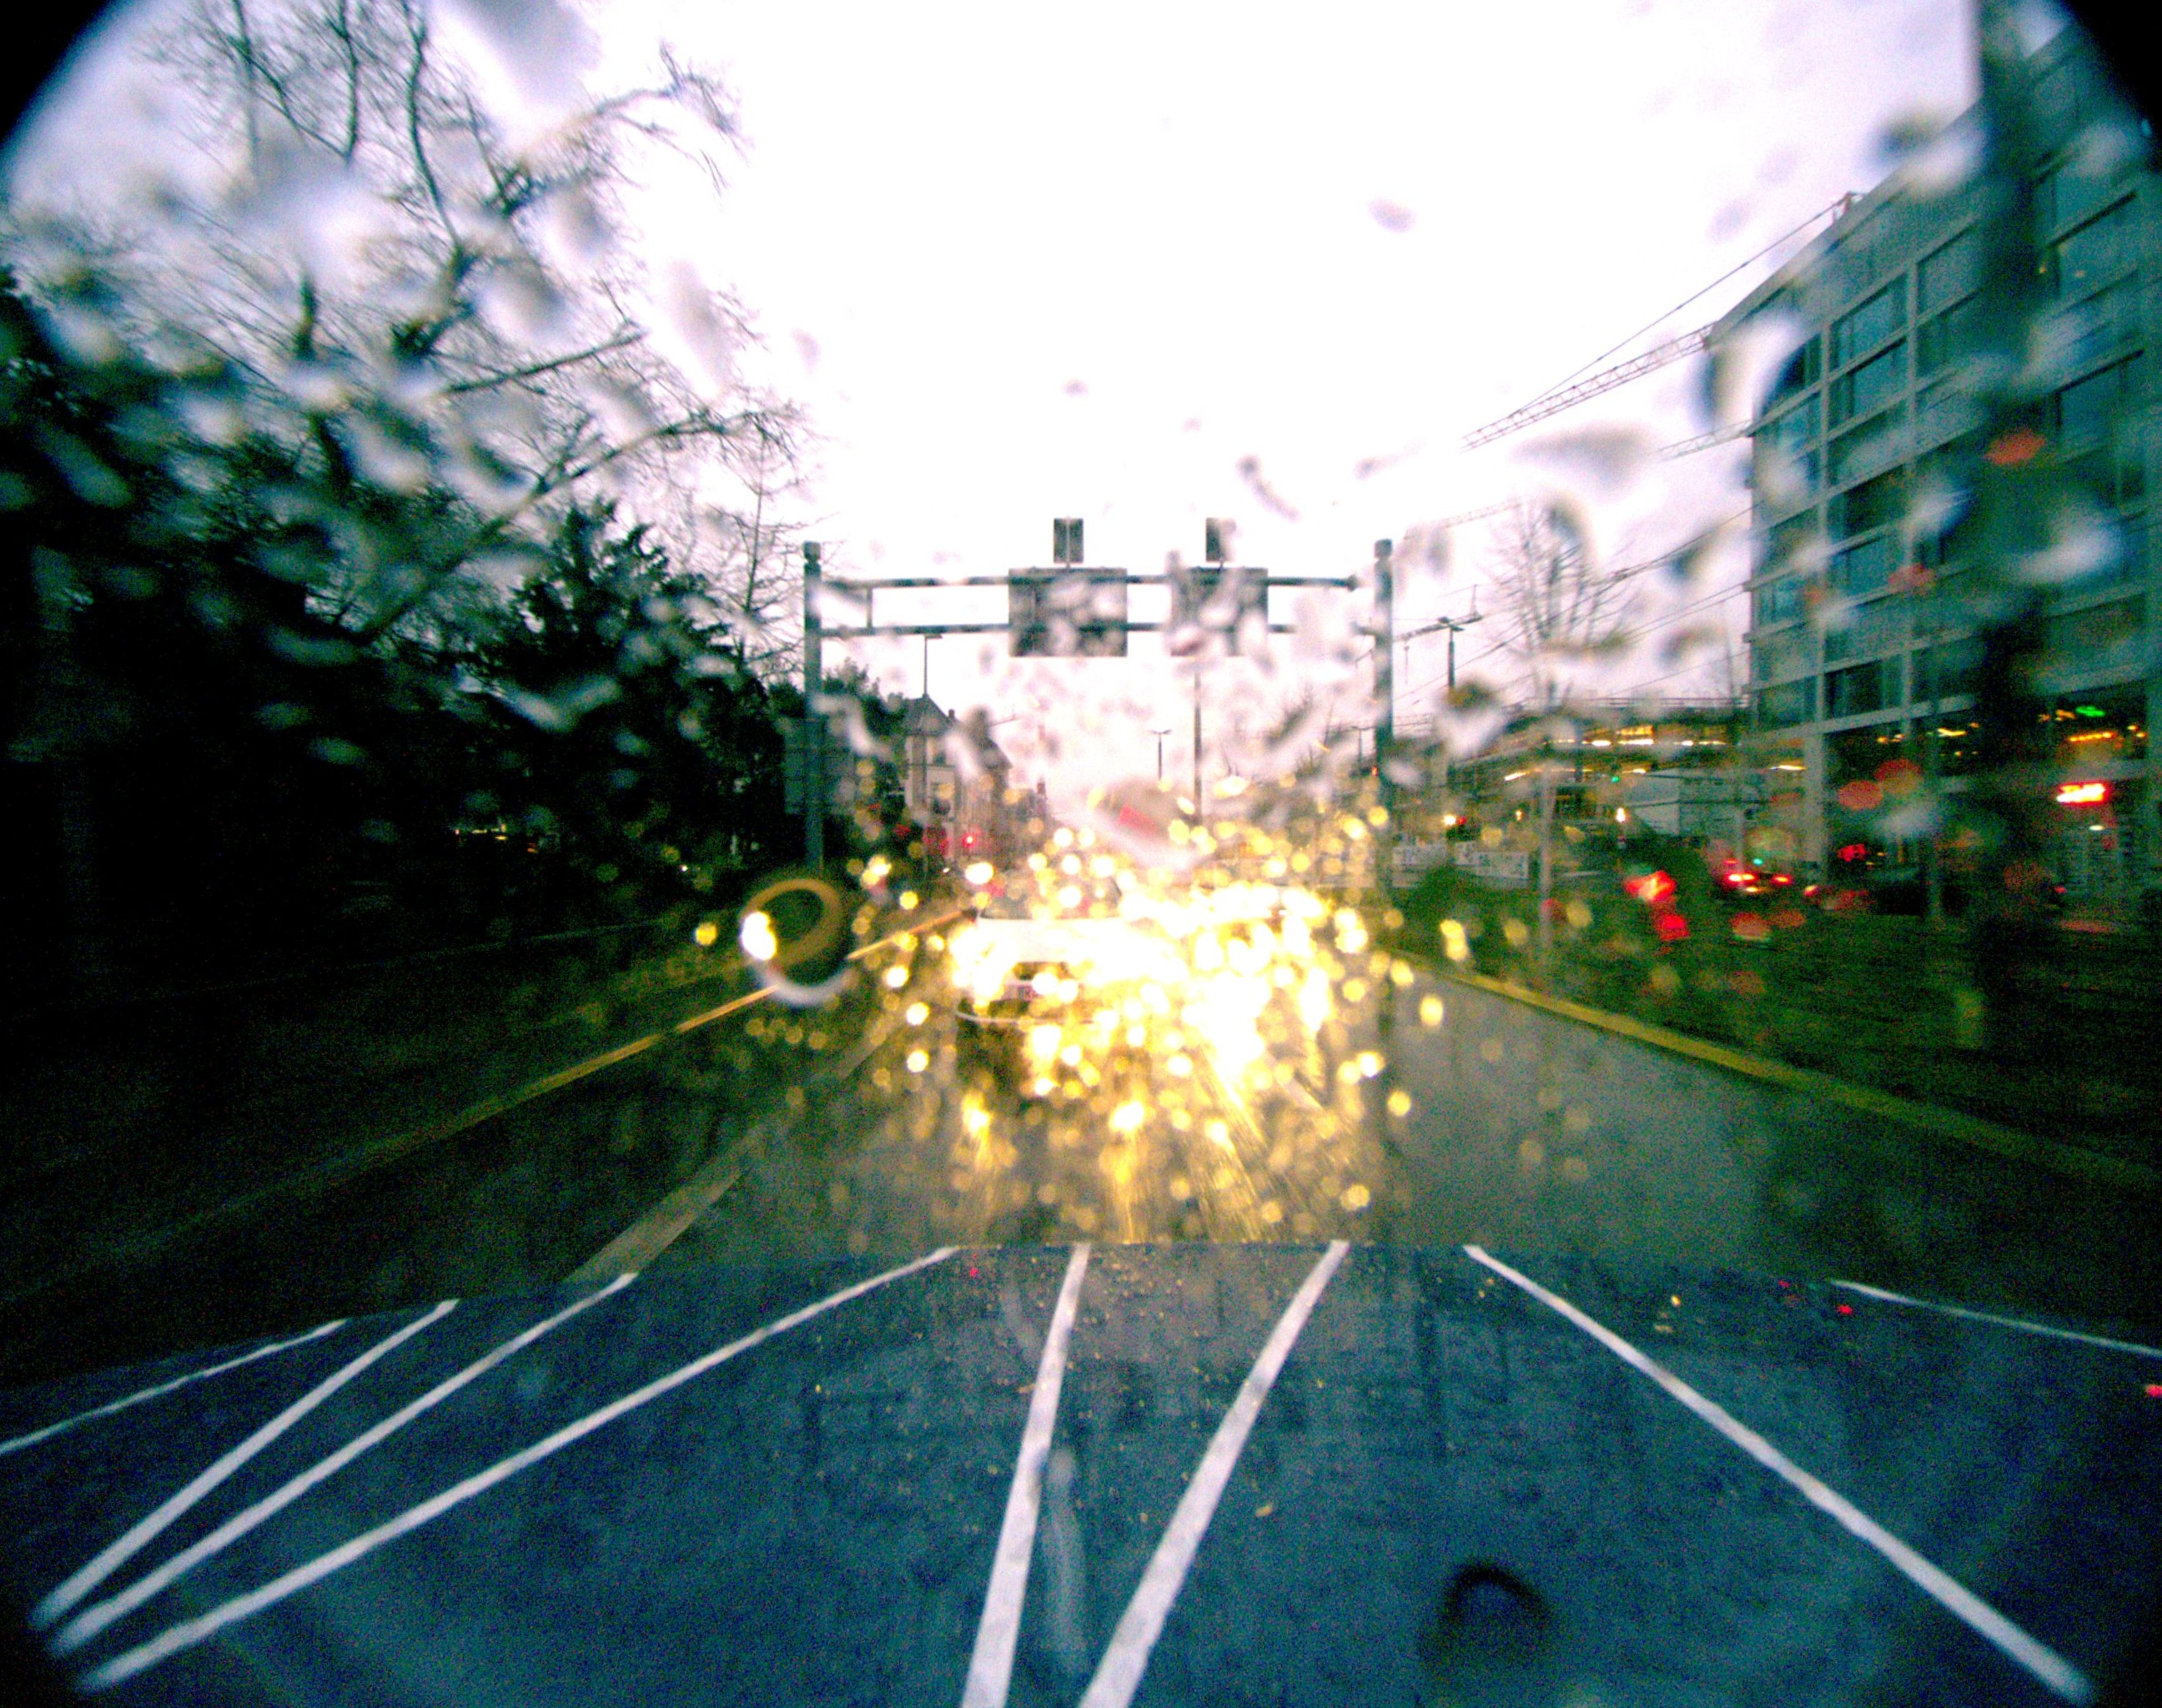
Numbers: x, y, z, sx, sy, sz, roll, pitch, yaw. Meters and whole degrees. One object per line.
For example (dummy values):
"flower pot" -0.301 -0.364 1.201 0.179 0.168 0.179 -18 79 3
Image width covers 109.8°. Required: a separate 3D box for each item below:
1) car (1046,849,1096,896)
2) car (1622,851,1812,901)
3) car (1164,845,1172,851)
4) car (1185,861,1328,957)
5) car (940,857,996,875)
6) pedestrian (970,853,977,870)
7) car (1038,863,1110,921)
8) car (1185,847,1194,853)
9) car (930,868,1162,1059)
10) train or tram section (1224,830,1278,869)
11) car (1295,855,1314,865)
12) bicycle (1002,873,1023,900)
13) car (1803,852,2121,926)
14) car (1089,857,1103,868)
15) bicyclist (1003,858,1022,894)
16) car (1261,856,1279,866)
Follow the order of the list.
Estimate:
"car" -0.356 0.667 29.743 1.781 1.666 3.981 -2 1 0
"car" 20.256 0.630 24.567 1.998 1.459 5.034 0 0 1
"car" 29.044 -2.042 253.504 1.998 2.002 4.000 0 0 1
"car" 2.975 0.873 13.691 1.767 1.363 3.981 -2 1 2
"car" -8.941 0.924 60.147 4.006 1.403 1.872 0 0 -30
"pedestrian" -9.544 0.629 67.462 0.521 1.501 0.588 0 1 1
"car" -0.177 0.963 20.783 1.728 1.318 3.981 -2 1 0
"car" 32.302 -1.134 226.267 1.999 1.812 3.999 0 0 -3
"car" -0.280 0.904 8.013 1.798 1.363 3.981 -2 1 0
"train or tram section" 16.548 -0.435 75.199 2.964 3.466 14.269 0 0 3
"car" 35.732 0.954 121.666 1.998 1.556 4.001 0 0 3
"bicycle" -2.629 1.223 29.189 0.647 0.961 2.046 0 0 -1
"car" 20.267 0.720 17.817 2.001 1.488 4.444 0 0 -15
"car" 1.998 1.141 100.226 1.767 1.363 3.981 -2 1 2
"bicyclist" -2.638 0.836 29.163 0.647 1.381 0.890 0 1 -1
"car" 30.389 1.101 122.345 1.998 1.556 4.001 0 0 3
